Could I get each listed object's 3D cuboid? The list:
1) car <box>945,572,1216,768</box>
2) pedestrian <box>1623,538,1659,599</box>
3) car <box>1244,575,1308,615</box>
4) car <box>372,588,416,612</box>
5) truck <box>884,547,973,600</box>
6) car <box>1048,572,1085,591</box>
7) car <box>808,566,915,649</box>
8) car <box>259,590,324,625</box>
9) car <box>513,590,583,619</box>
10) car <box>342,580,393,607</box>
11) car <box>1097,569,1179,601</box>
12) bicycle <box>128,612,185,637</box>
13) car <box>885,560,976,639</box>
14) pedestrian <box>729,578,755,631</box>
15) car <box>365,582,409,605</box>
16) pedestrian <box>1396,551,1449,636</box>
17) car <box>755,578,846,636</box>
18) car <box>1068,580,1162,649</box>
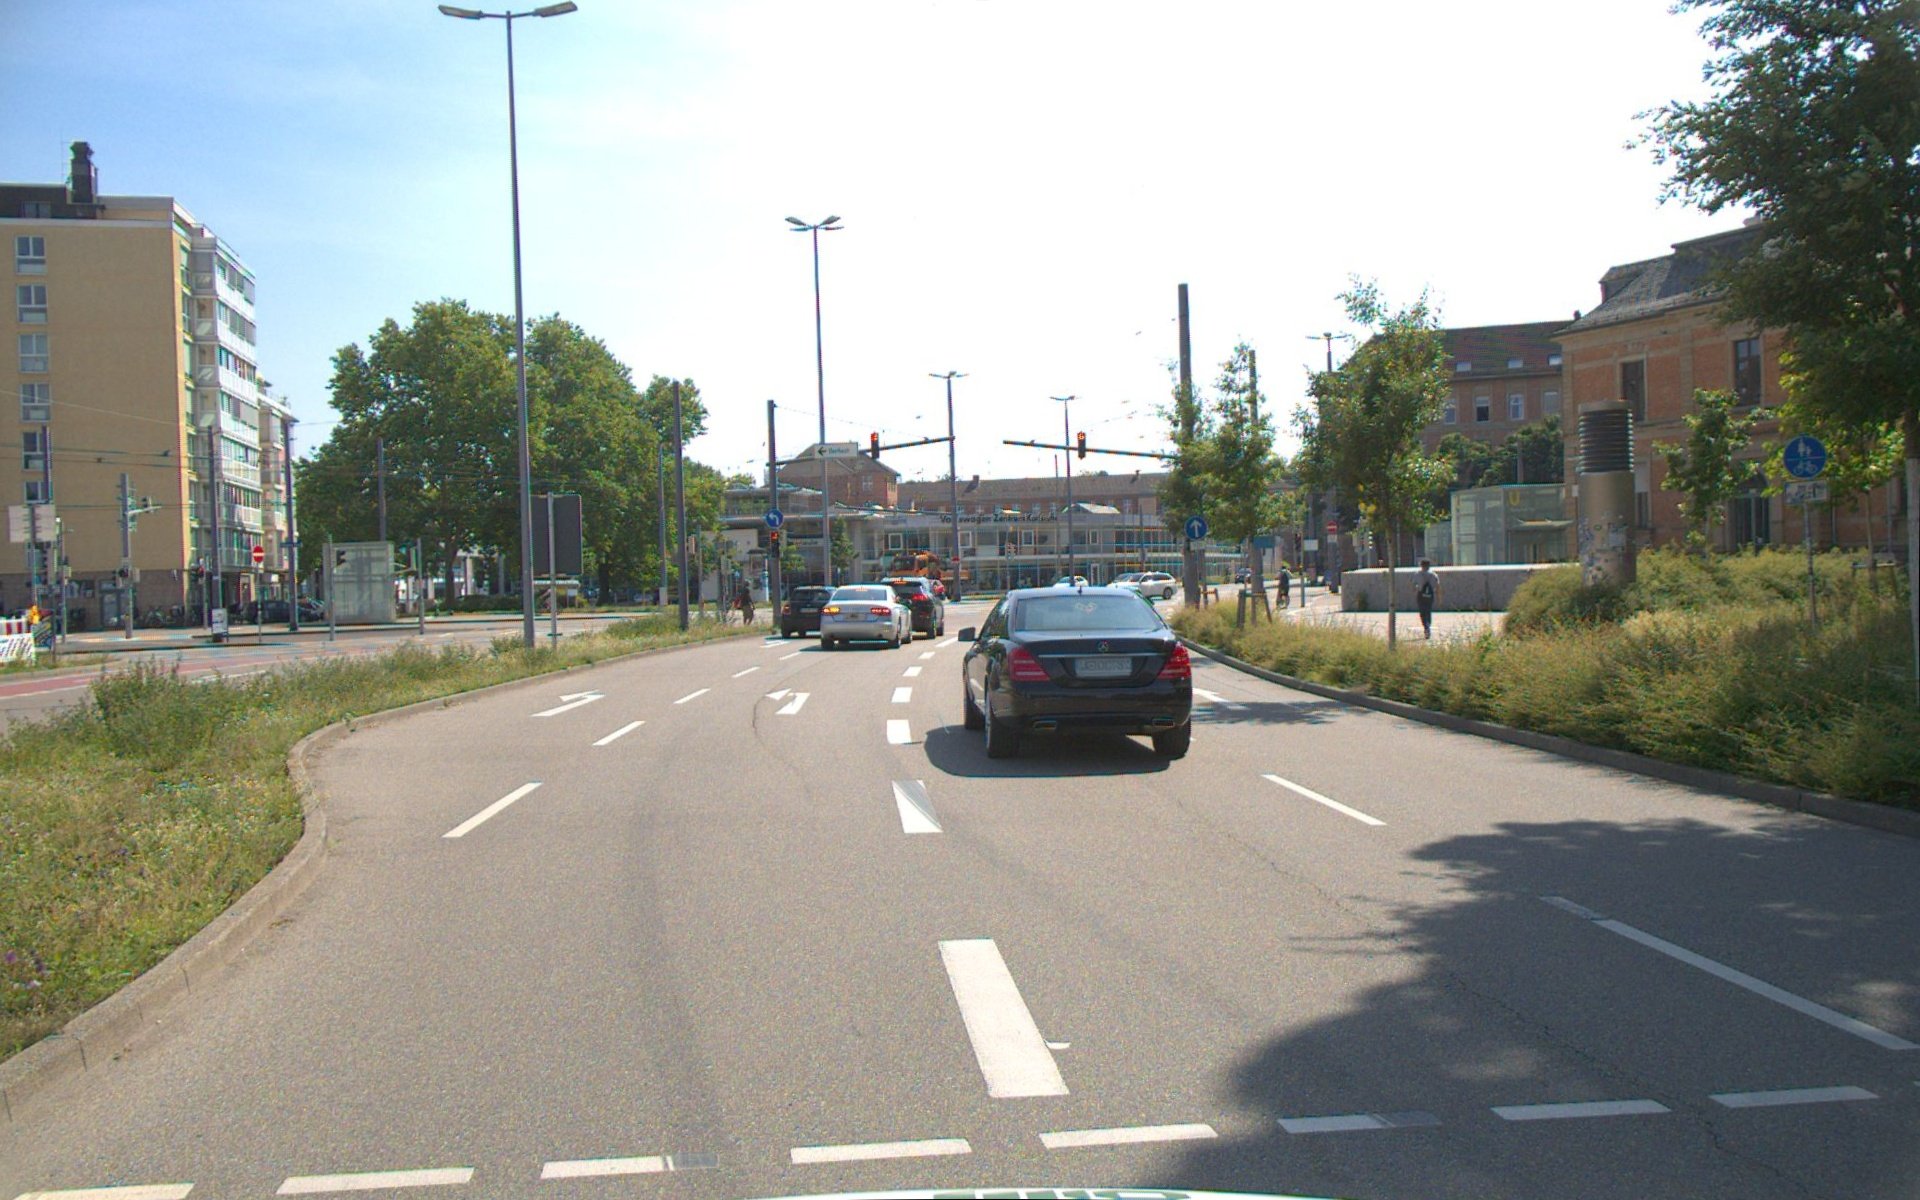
[{"bbox_3d":[0.992,0.599,16.142,1.823,1.557,4.707,-2,0,-6],"label":"car"},{"bbox_3d":[19.175,-0.885,46.586,0.637,1.690,0.647,-2,0,-16],"label":"pedestrian"},{"bbox_3d":[13.192,-0.234,68.859,1.757,1.536,4.277,-2,1,22],"label":"car"},{"bbox_3d":[-54.034,0.023,157.940,3.928,2.048,1.989,-2,3,-20],"label":"car"},{"bbox_3d":[-2.316,-2.048,124.013,3.006,3.795,7.916,-1,1,30],"label":"truck"},{"bbox_3d":[9.020,-1.571,139.495,1.759,1.536,3.997,-1,1,25],"label":"car"},{"bbox_3d":[-2.316,0.145,39.915,1.951,1.847,4.003,-2,1,5],"label":"car"},{"bbox_3d":[-44.812,0.489,110.956,3.928,2.048,1.989,-2,3,-20],"label":"car"},{"bbox_3d":[-24.412,0.254,98.092,3.919,1.536,1.794,-2,1,-14],"label":"car"},{"bbox_3d":[-49.341,-0.540,137.819,3.928,2.048,1.989,-2,3,-20],"label":"car"},{"bbox_3d":[9.508,-0.795,88.374,4.225,1.536,1.779,-2,1,-34],"label":"car"},{"bbox_3d":[-46.099,1.389,94.888,2.771,1.243,0.989,-2,3,-18],"label":"bicycle"},{"bbox_3d":[-0.778,-0.045,46.340,1.951,2.048,4.003,-2,1,7],"label":"car"},{"bbox_3d":[-7.066,0.146,53.555,0.634,1.690,0.664,-1,0,10],"label":"pedestrian"},{"bbox_3d":[-56.238,-0.653,162.328,3.928,2.048,1.989,-2,3,-20],"label":"car"},{"bbox_3d":[9.763,-0.136,34.945,0.853,1.755,0.800,-2,0,-1],"label":"pedestrian"},{"bbox_3d":[-4.547,0.182,47.732,1.756,1.536,4.003,-2,1,6],"label":"car"},{"bbox_3d":[3.637,0.317,39.457,1.758,1.536,3.999,-1,1,-2],"label":"car"}]
